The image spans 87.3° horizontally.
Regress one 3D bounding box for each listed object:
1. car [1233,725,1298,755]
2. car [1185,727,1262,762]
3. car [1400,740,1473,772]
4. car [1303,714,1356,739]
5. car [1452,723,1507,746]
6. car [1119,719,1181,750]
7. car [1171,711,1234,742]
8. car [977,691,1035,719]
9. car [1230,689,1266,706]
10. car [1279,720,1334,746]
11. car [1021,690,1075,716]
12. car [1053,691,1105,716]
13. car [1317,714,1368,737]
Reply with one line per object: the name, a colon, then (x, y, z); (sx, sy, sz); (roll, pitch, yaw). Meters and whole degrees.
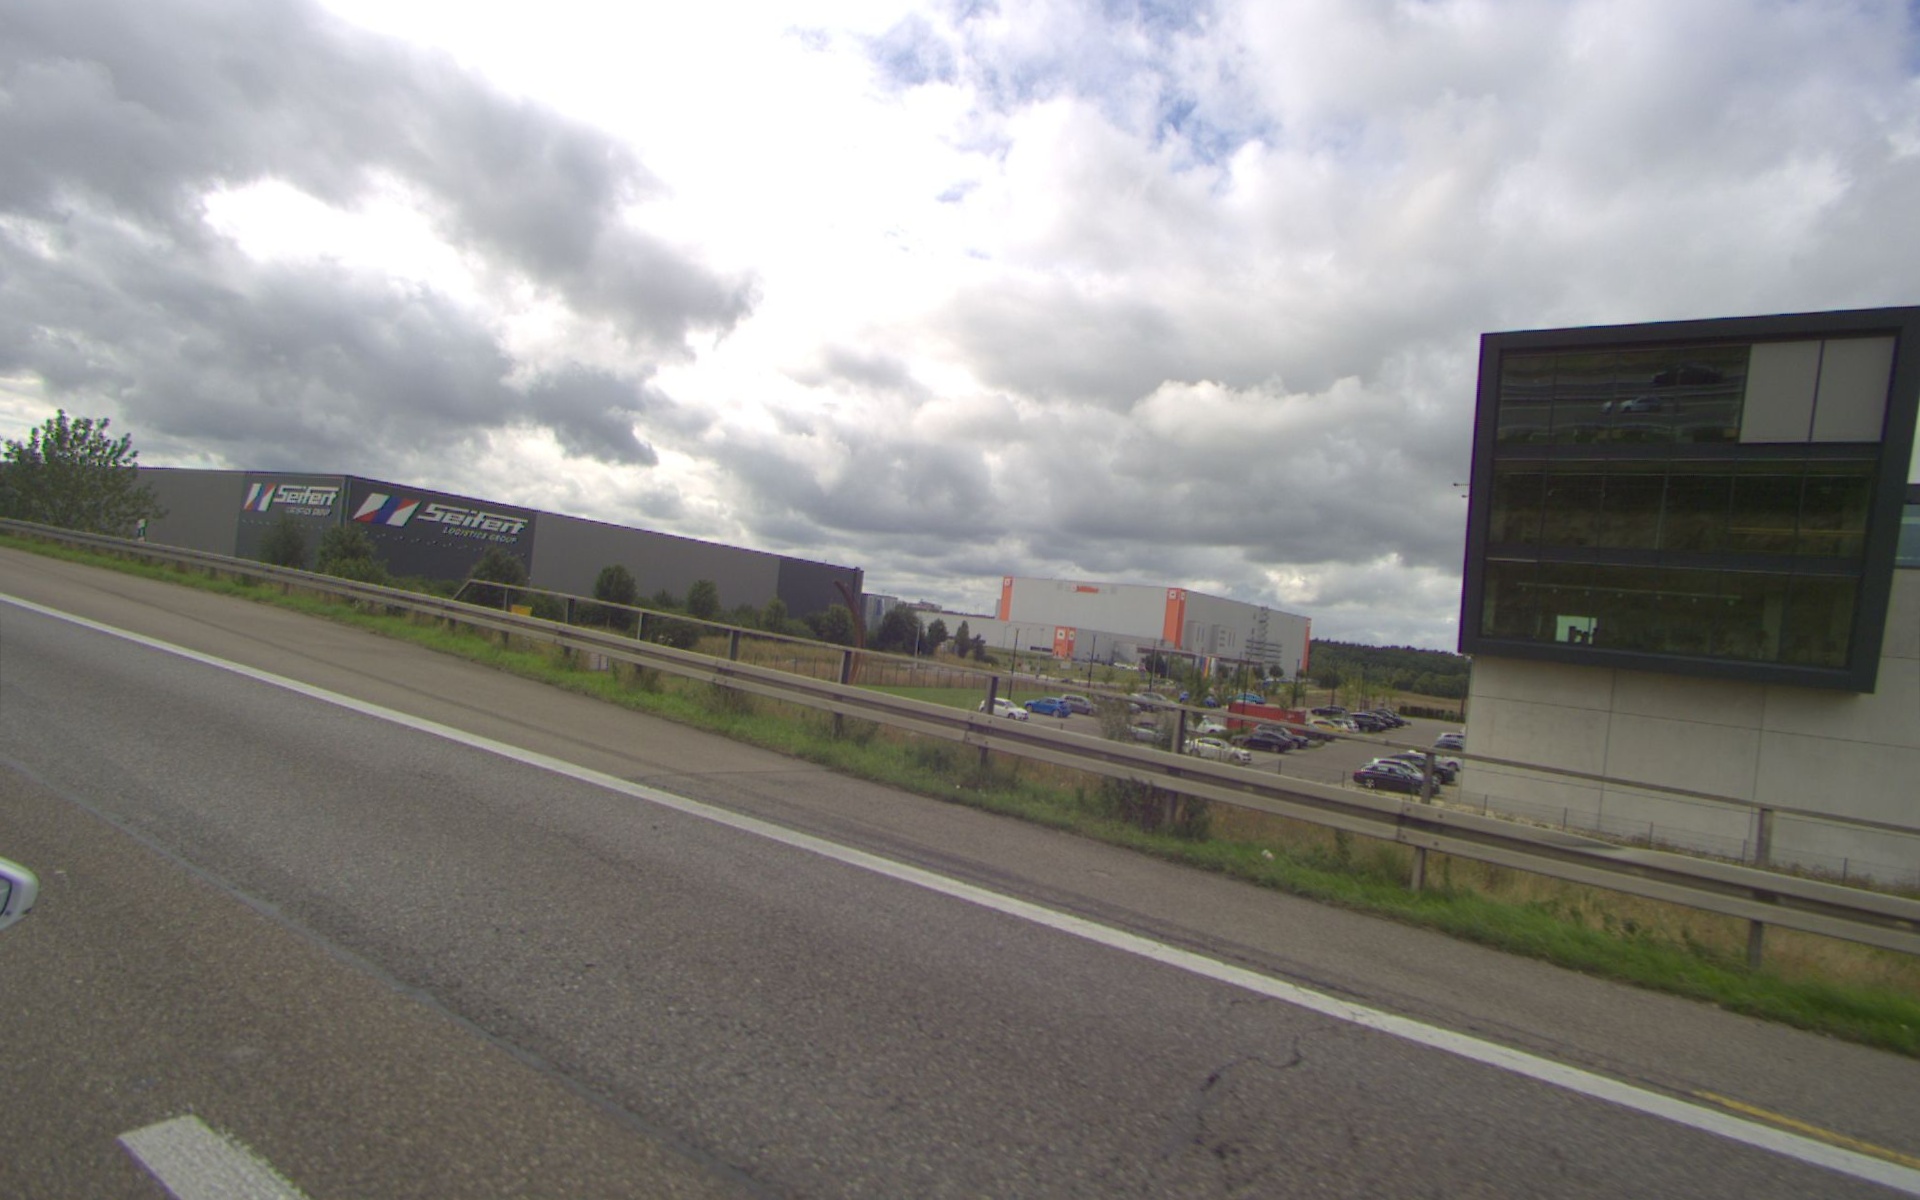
car: (22.816, 10.436, 75.142); (4.186, 1.511, 1.679); (7, -2, 32)
car: (17.452, 9.566, 66.691); (4.488, 1.511, 1.679); (7, -2, 32)
car: (34.594, 11.319, 73.033); (4.488, 1.511, 1.679); (7, -2, 32)
car: (33.698, 11.523, 91.709); (4.186, 1.511, 1.679); (7, -2, 32)
car: (50.578, 13.087, 97.990); (4.489, 1.511, 1.679); (6, -3, 32)
car: (13.659, 9.679, 72.438); (3.881, 1.511, 1.679); (7, -2, 32)
car: (19.374, 10.090, 80.456); (4.395, 1.721, 1.679); (7, -2, 32)
car: (3.450, 7.935, 76.035); (3.934, 1.511, 1.679); (7, -2, 32)
car: (36.175, 12.282, 126.223); (3.930, 1.511, 1.680); (7, -2, 28)
car: (30.343, 11.630, 88.095); (4.186, 1.511, 1.679); (7, -2, 32)
car: (7.207, 8.456, 82.699); (3.934, 1.511, 1.679); (7, -2, 32)
car: (10.218, 8.881, 86.561); (3.934, 1.511, 1.679); (7, -2, 32)
car: (36.609, 11.999, 96.364); (4.186, 1.511, 1.679); (7, -2, 32)
